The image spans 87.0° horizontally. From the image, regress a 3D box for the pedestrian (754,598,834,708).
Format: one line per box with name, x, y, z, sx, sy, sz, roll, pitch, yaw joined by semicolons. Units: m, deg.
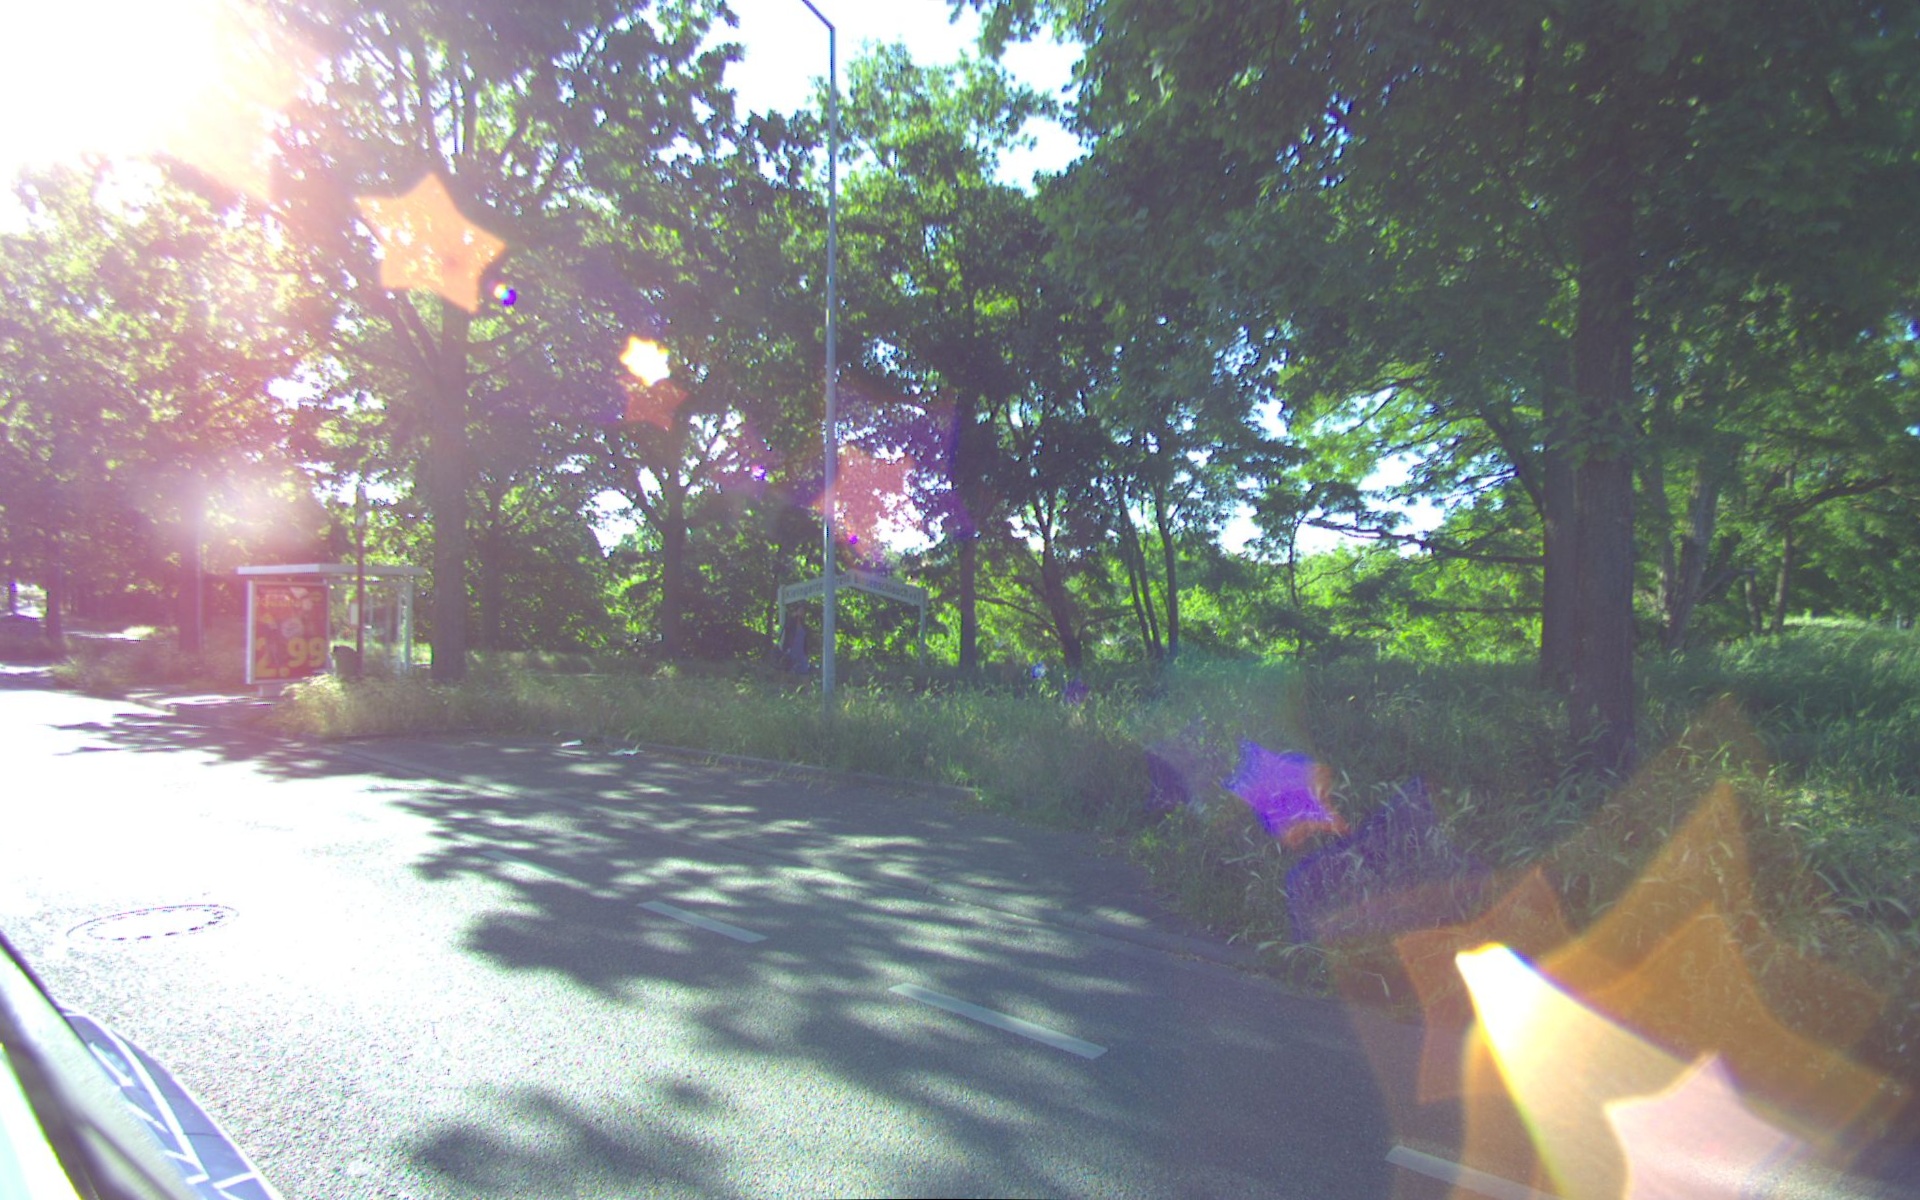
pedestrian;-2.683;0.832;16.384;0.891;1.701;0.903;-2;-1;42
